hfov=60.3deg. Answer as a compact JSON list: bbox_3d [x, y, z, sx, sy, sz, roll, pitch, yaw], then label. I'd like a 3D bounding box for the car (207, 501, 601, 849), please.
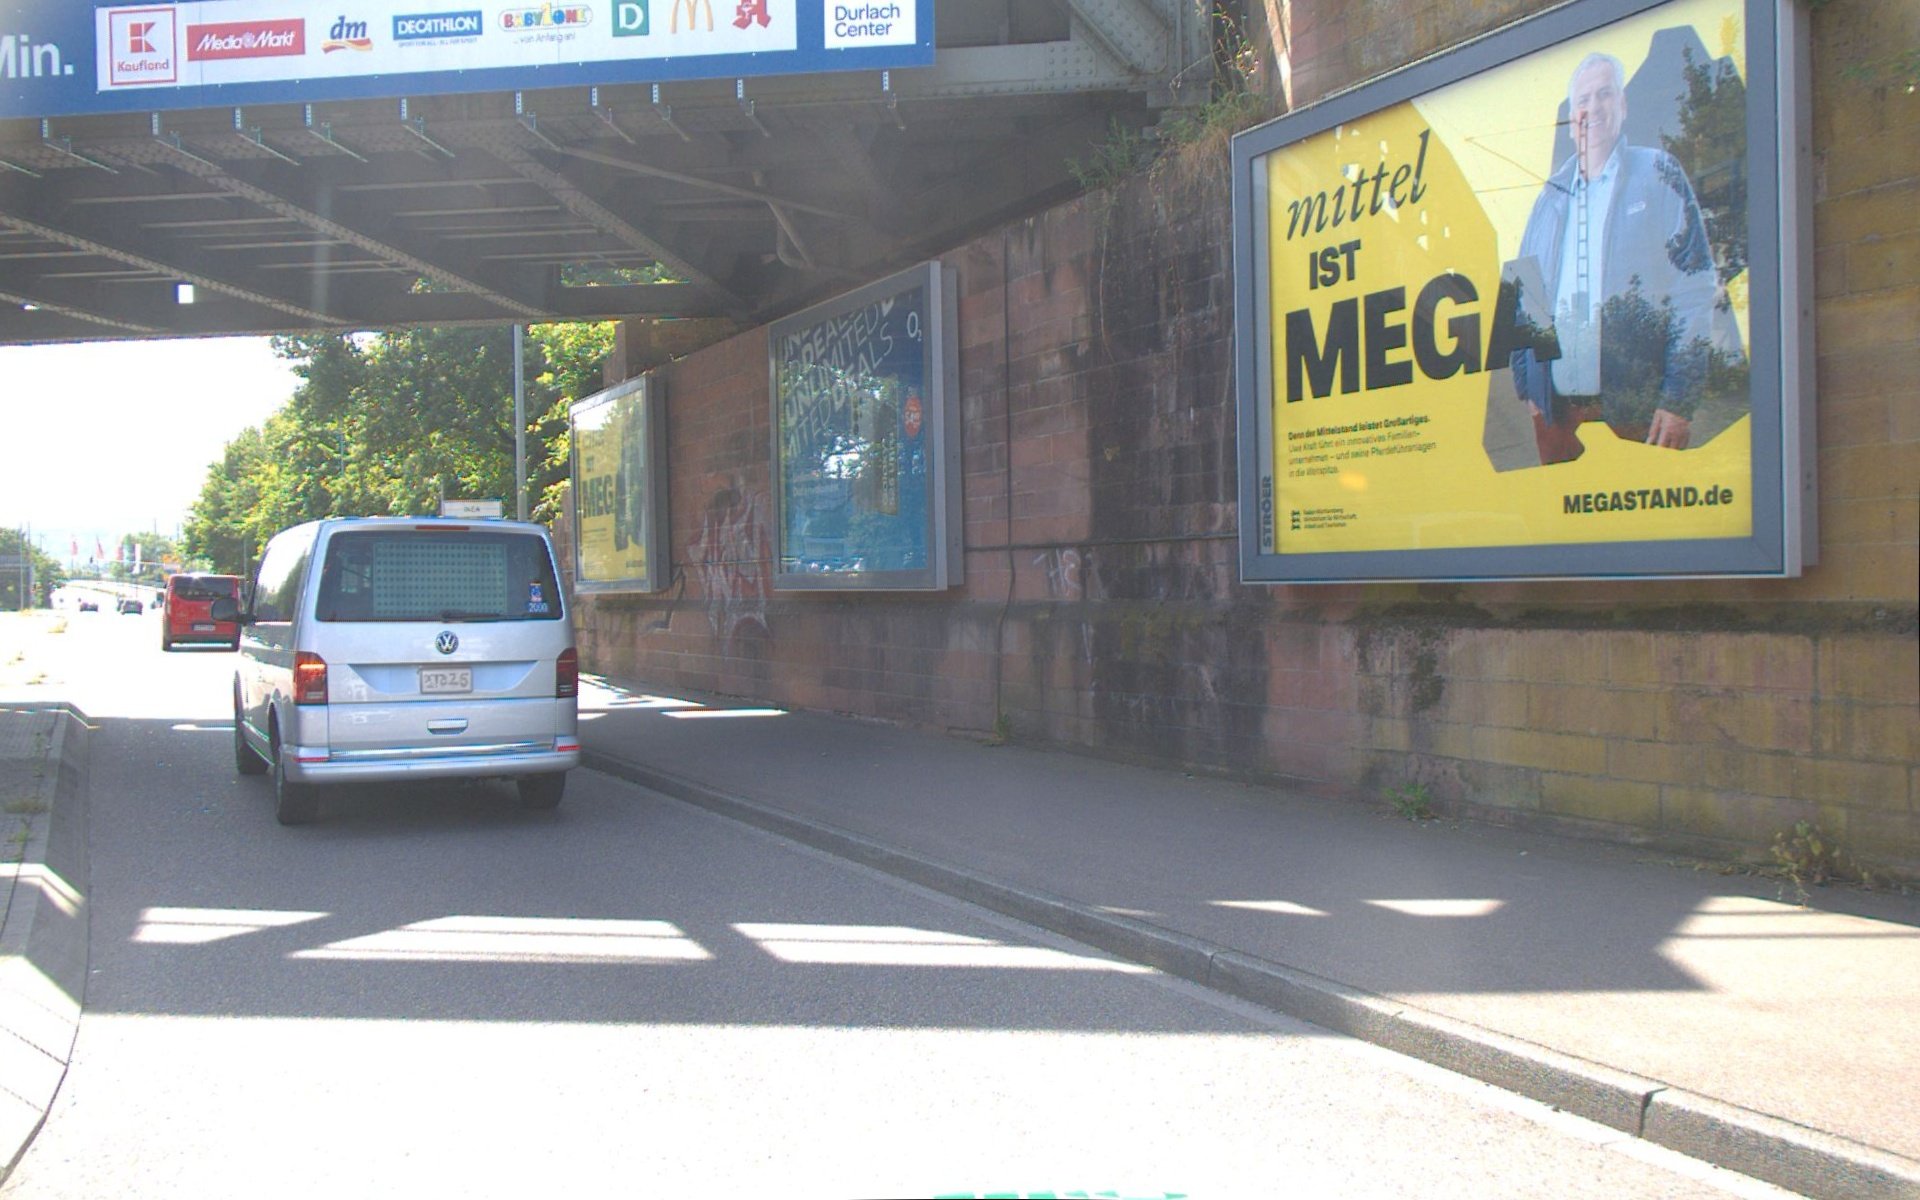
[{"bbox_3d":[-4.300,0.407,12.196,1.920,2.006,4.973,0,1,-29],"label":"car"}]

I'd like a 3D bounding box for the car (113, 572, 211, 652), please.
[{"bbox_3d":[-21.066,0.290,43.562,1.948,1.958,4.513,-1,1,-30],"label":"car"}]

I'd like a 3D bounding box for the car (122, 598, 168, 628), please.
[{"bbox_3d":[-40.927,0.644,83.001,1.768,1.421,4.280,-1,1,-30],"label":"car"}]
